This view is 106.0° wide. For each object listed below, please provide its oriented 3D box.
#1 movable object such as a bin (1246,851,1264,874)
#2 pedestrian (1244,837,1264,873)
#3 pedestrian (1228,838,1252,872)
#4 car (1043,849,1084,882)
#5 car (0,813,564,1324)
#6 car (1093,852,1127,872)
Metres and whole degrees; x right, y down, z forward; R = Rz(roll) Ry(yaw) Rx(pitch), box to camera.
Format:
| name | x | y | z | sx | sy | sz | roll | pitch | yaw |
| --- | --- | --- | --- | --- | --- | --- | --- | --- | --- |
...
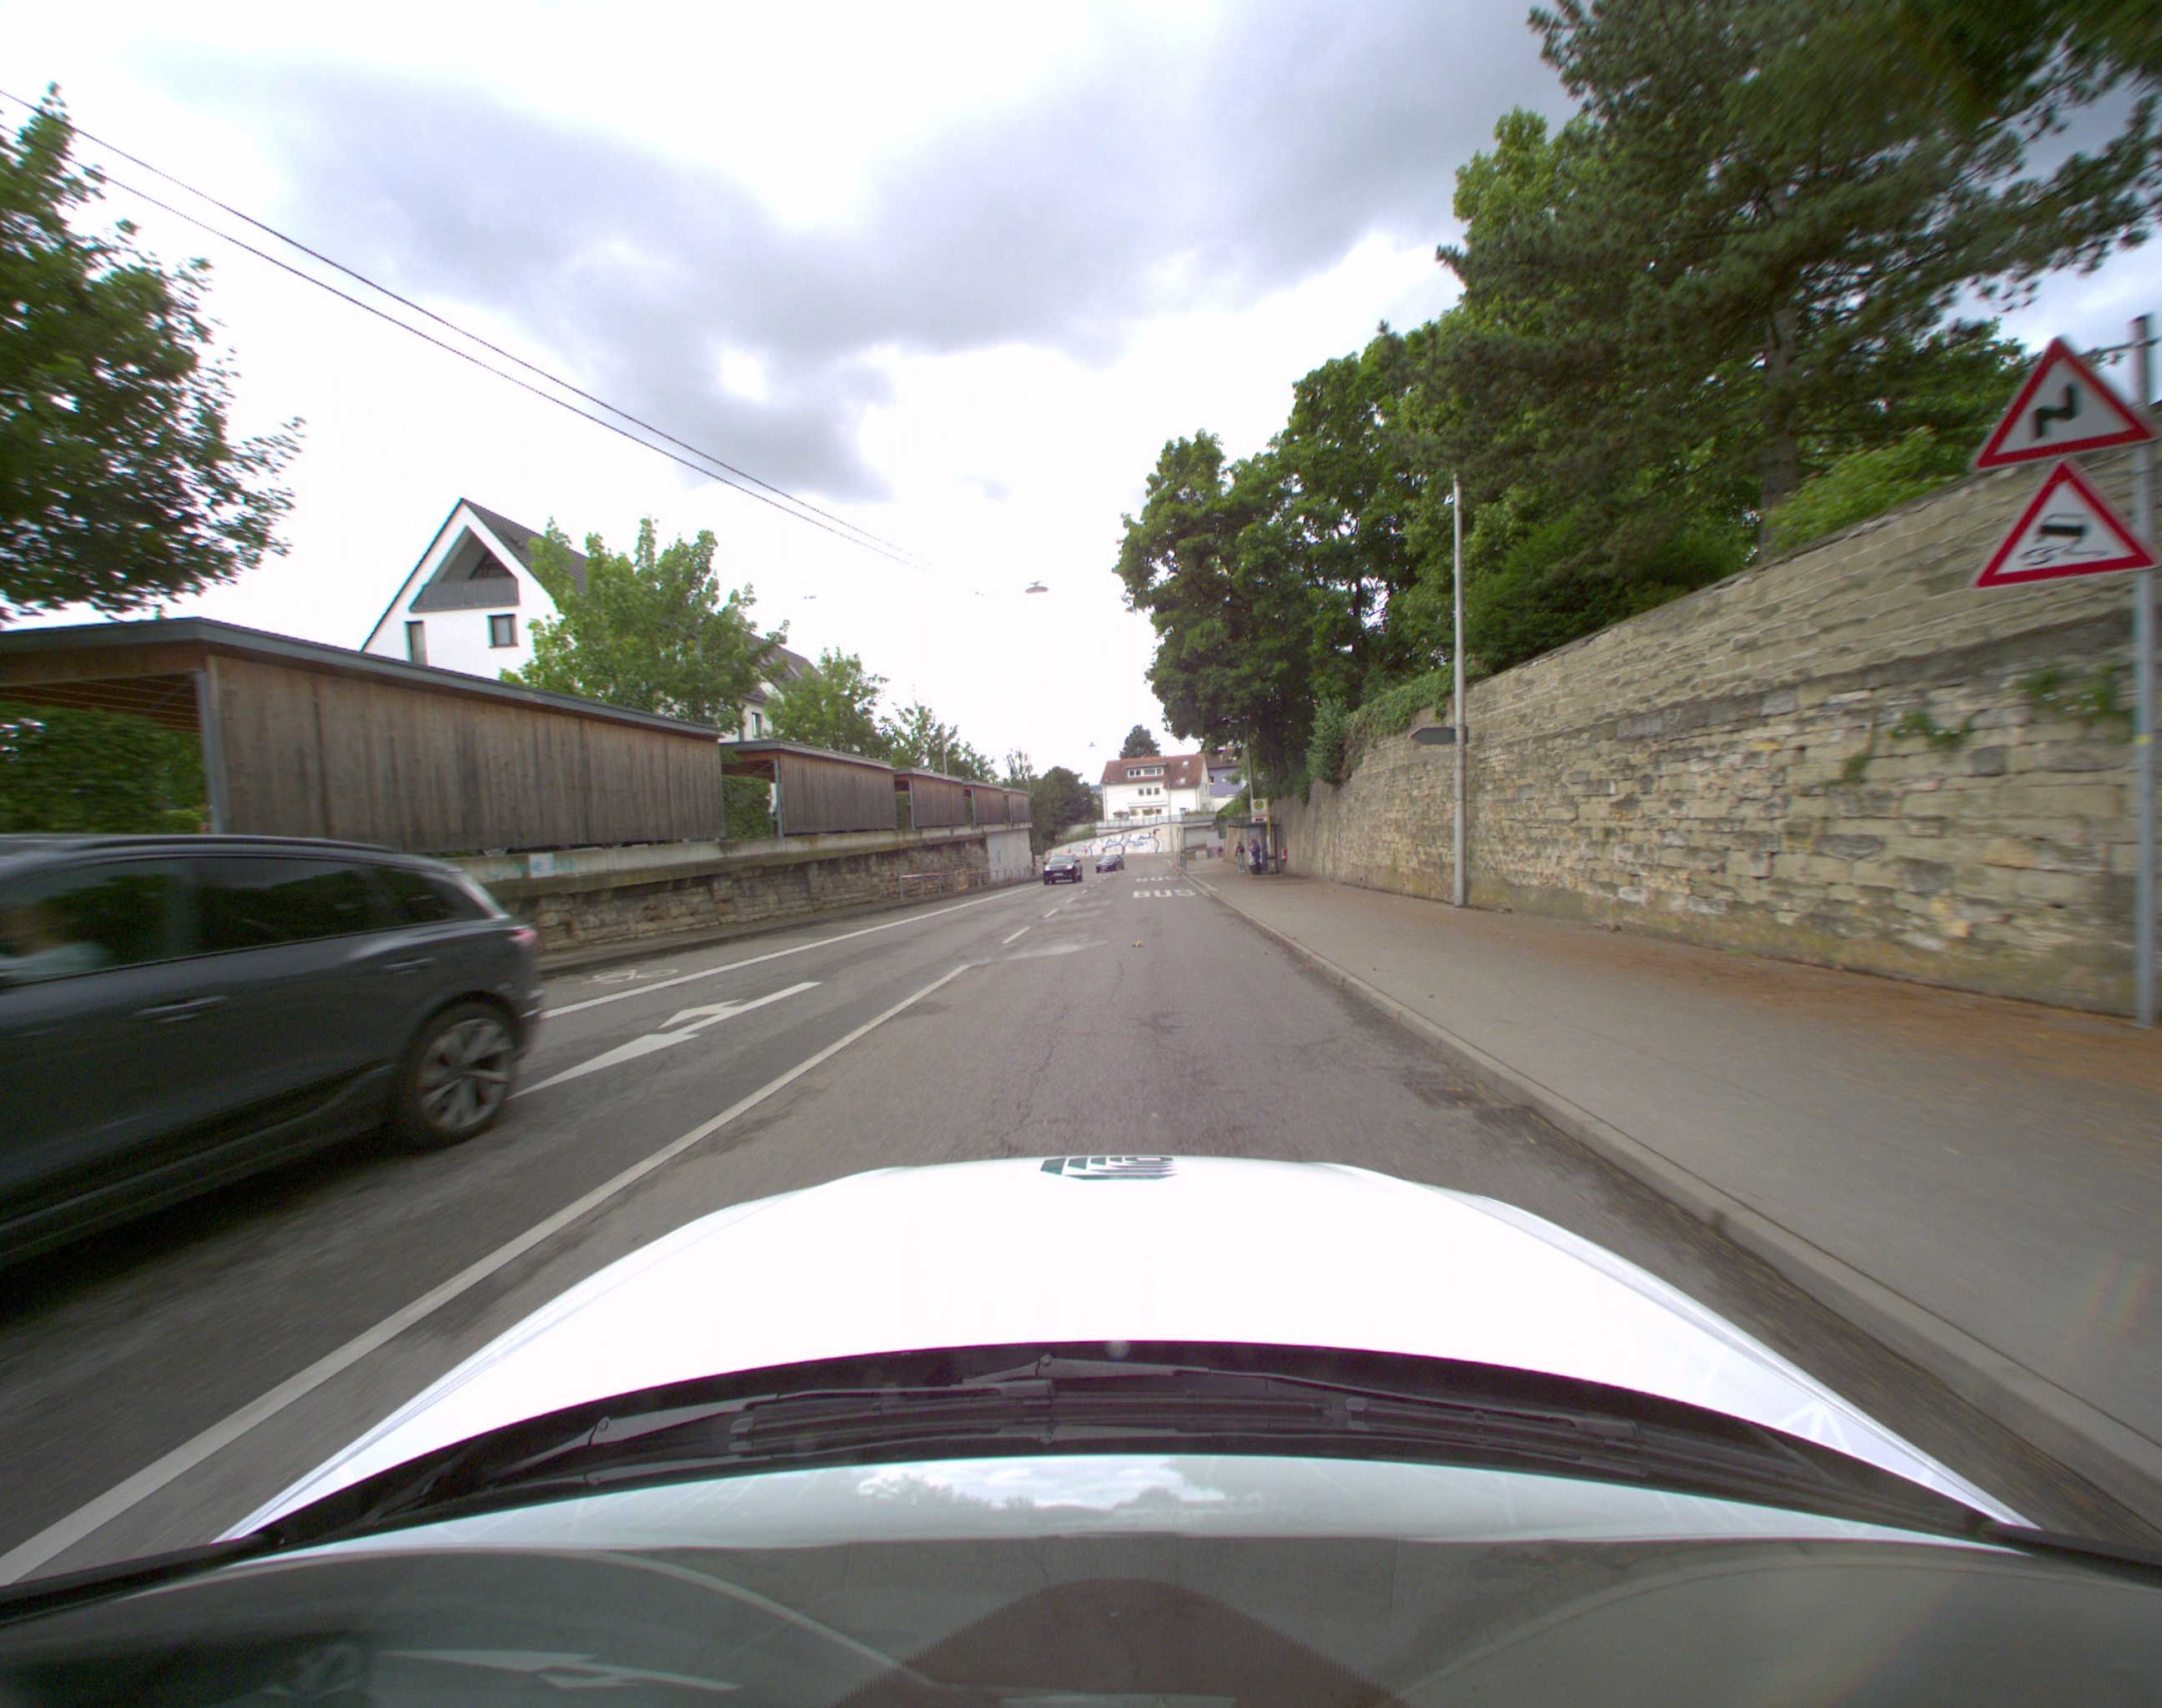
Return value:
| name | x | y | z | sx | sy | sz | roll | pitch | yaw |
| --- | --- | --- | --- | --- | --- | --- | --- | --- | --- |
| movable object such as a bin | 8.124 | 0.383 | 38.083 | 0.672 | 1.020 | 0.627 | -3 | 1 | -1 |
| pedestrian | 8.233 | 0.053 | 38.746 | 0.718 | 1.642 | 0.631 | -3 | 0 | 0 |
| pedestrian | 8.024 | 0.048 | 41.074 | 0.778 | 1.587 | 0.728 | -5 | 1 | -44 |
| car | -0.978 | 0.645 | 48.092 | 1.885 | 1.756 | 4.442 | -3 | 0 | 4 |
| car | -4.400 | 0.705 | 3.011 | 1.914 | 1.630 | 4.526 | -1 | -1 | 3 |
| car | 2.524 | 0.685 | 69.936 | 1.720 | 1.533 | 4.020 | -4 | 0 | 19 |
